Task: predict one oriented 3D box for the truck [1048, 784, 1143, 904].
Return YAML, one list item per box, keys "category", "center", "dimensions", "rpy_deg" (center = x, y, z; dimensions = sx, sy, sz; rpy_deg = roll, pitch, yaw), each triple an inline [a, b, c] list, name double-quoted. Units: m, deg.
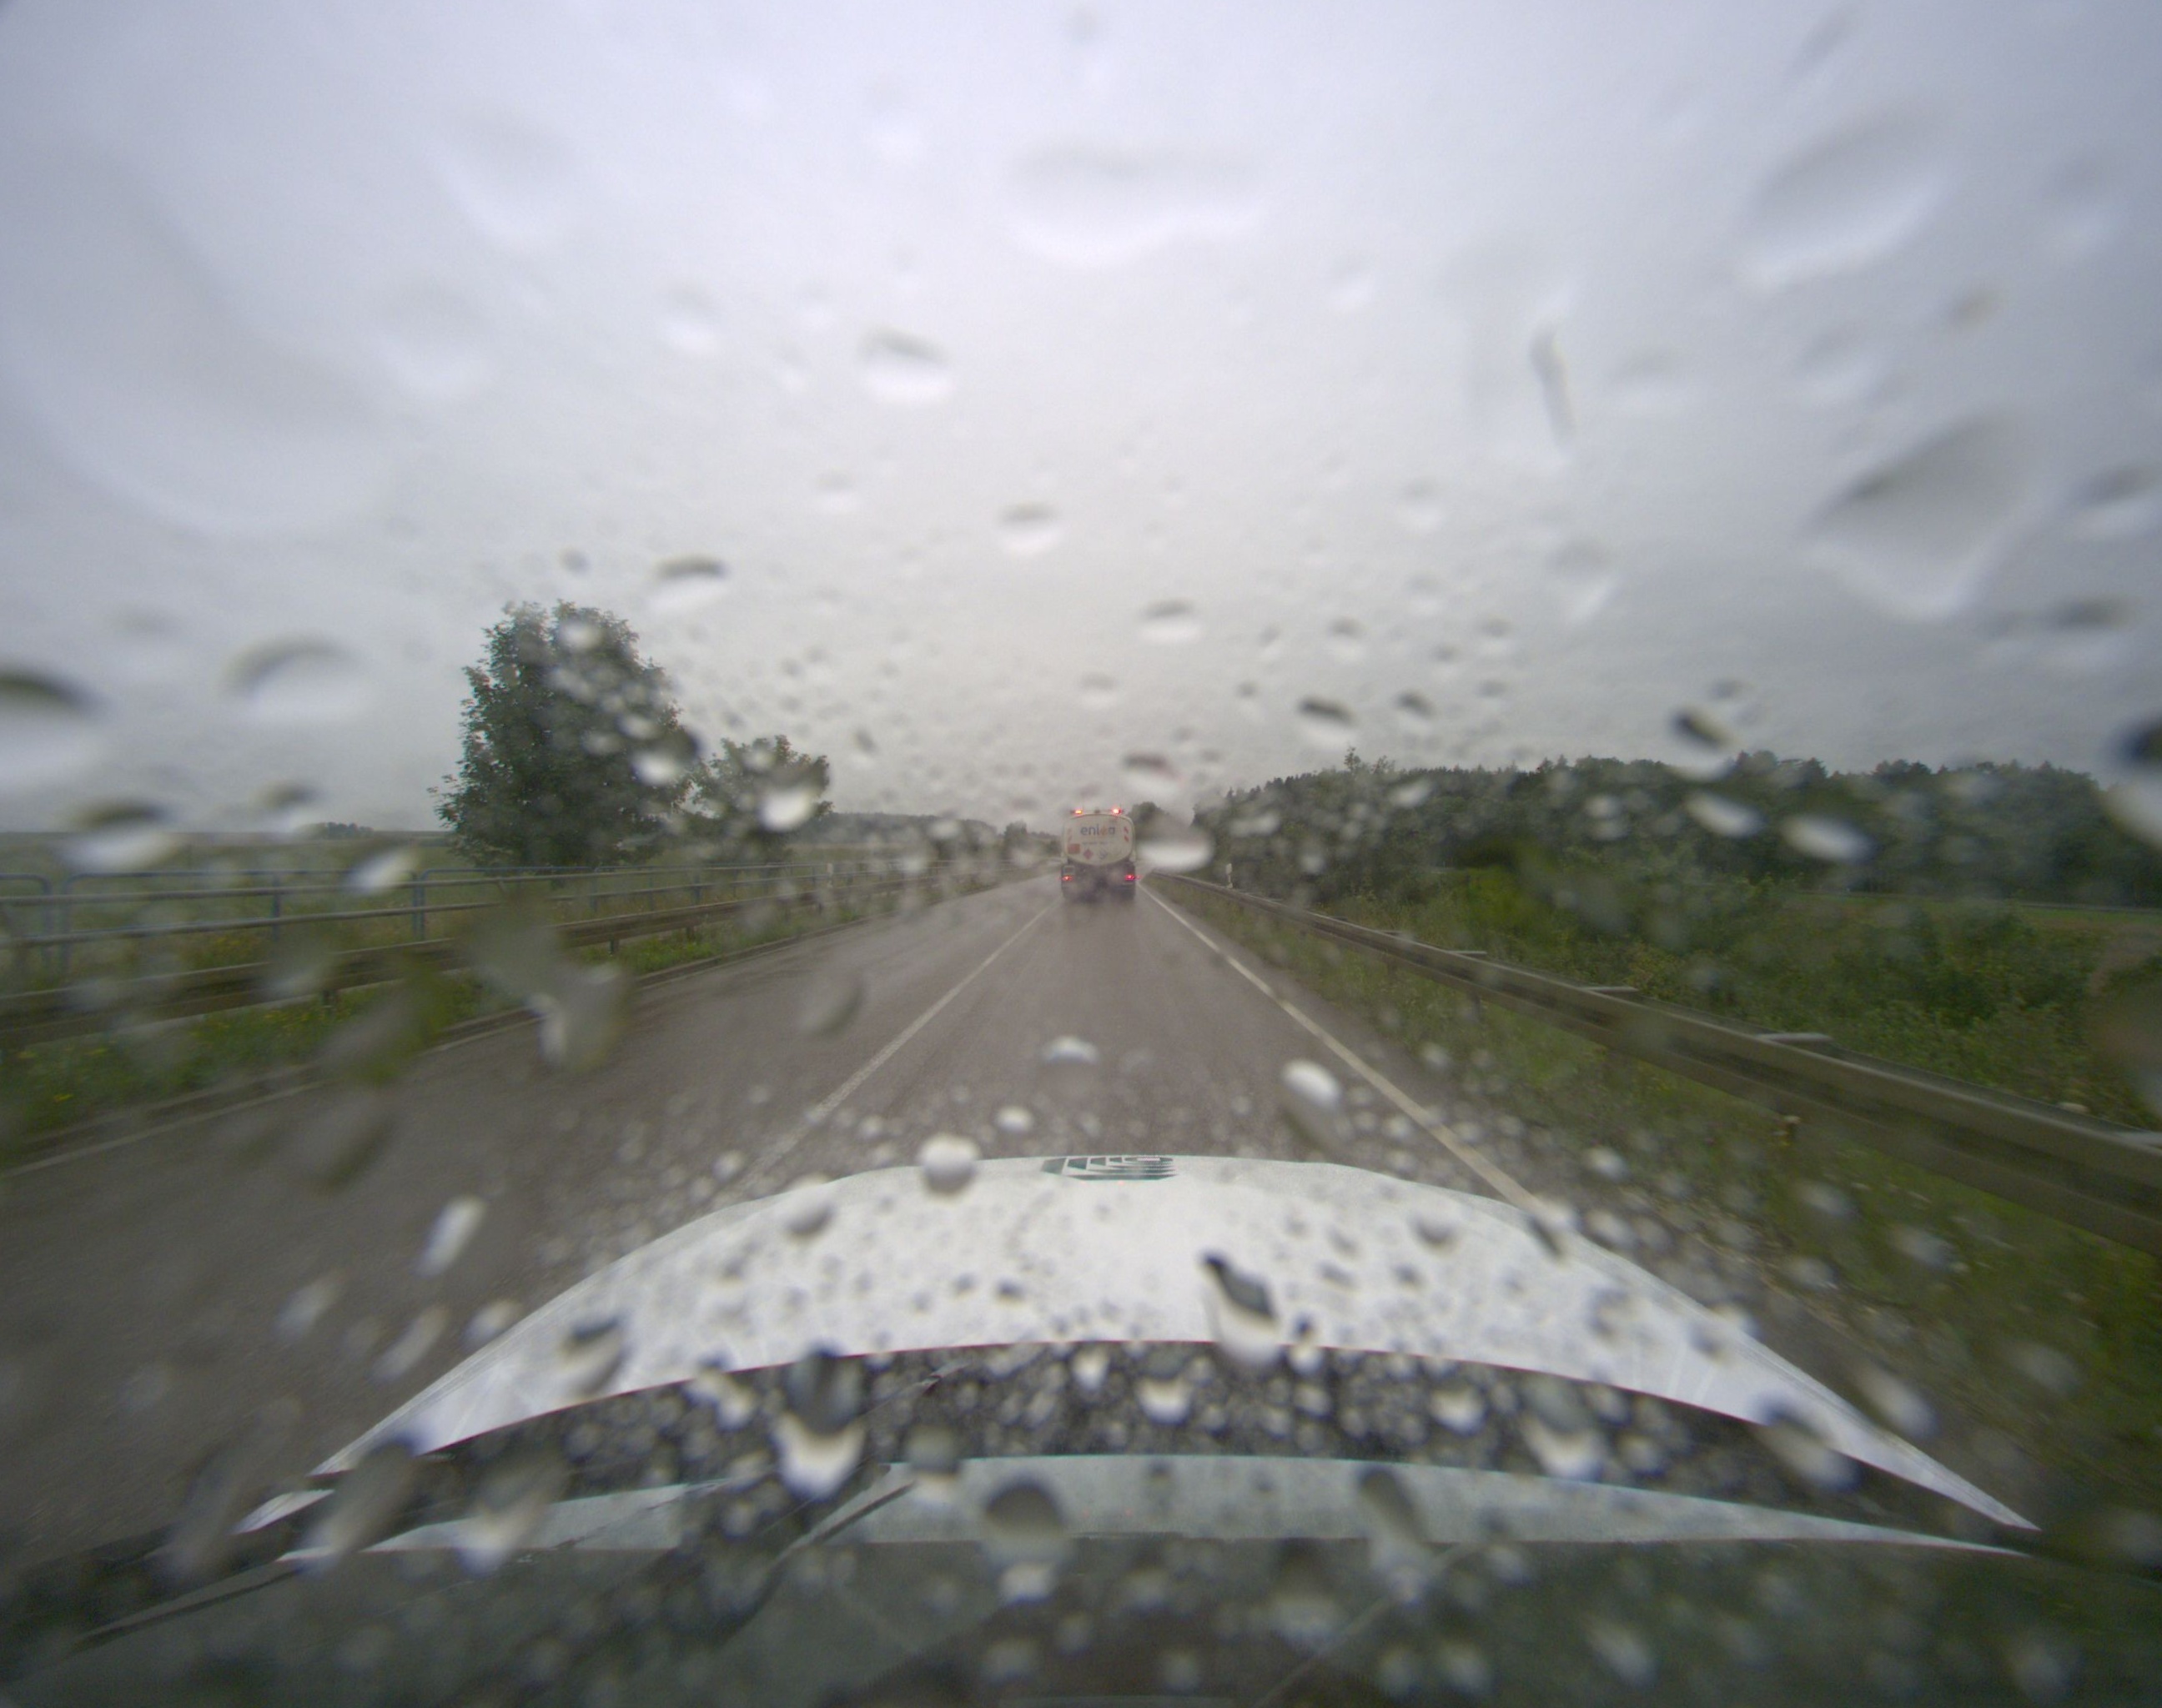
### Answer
- category: "truck"
  center: [0.685, -0.337, 30.755]
  dimensions: [3.027, 3.851, 8.828]
  rpy_deg: [-1, 0, 3]
